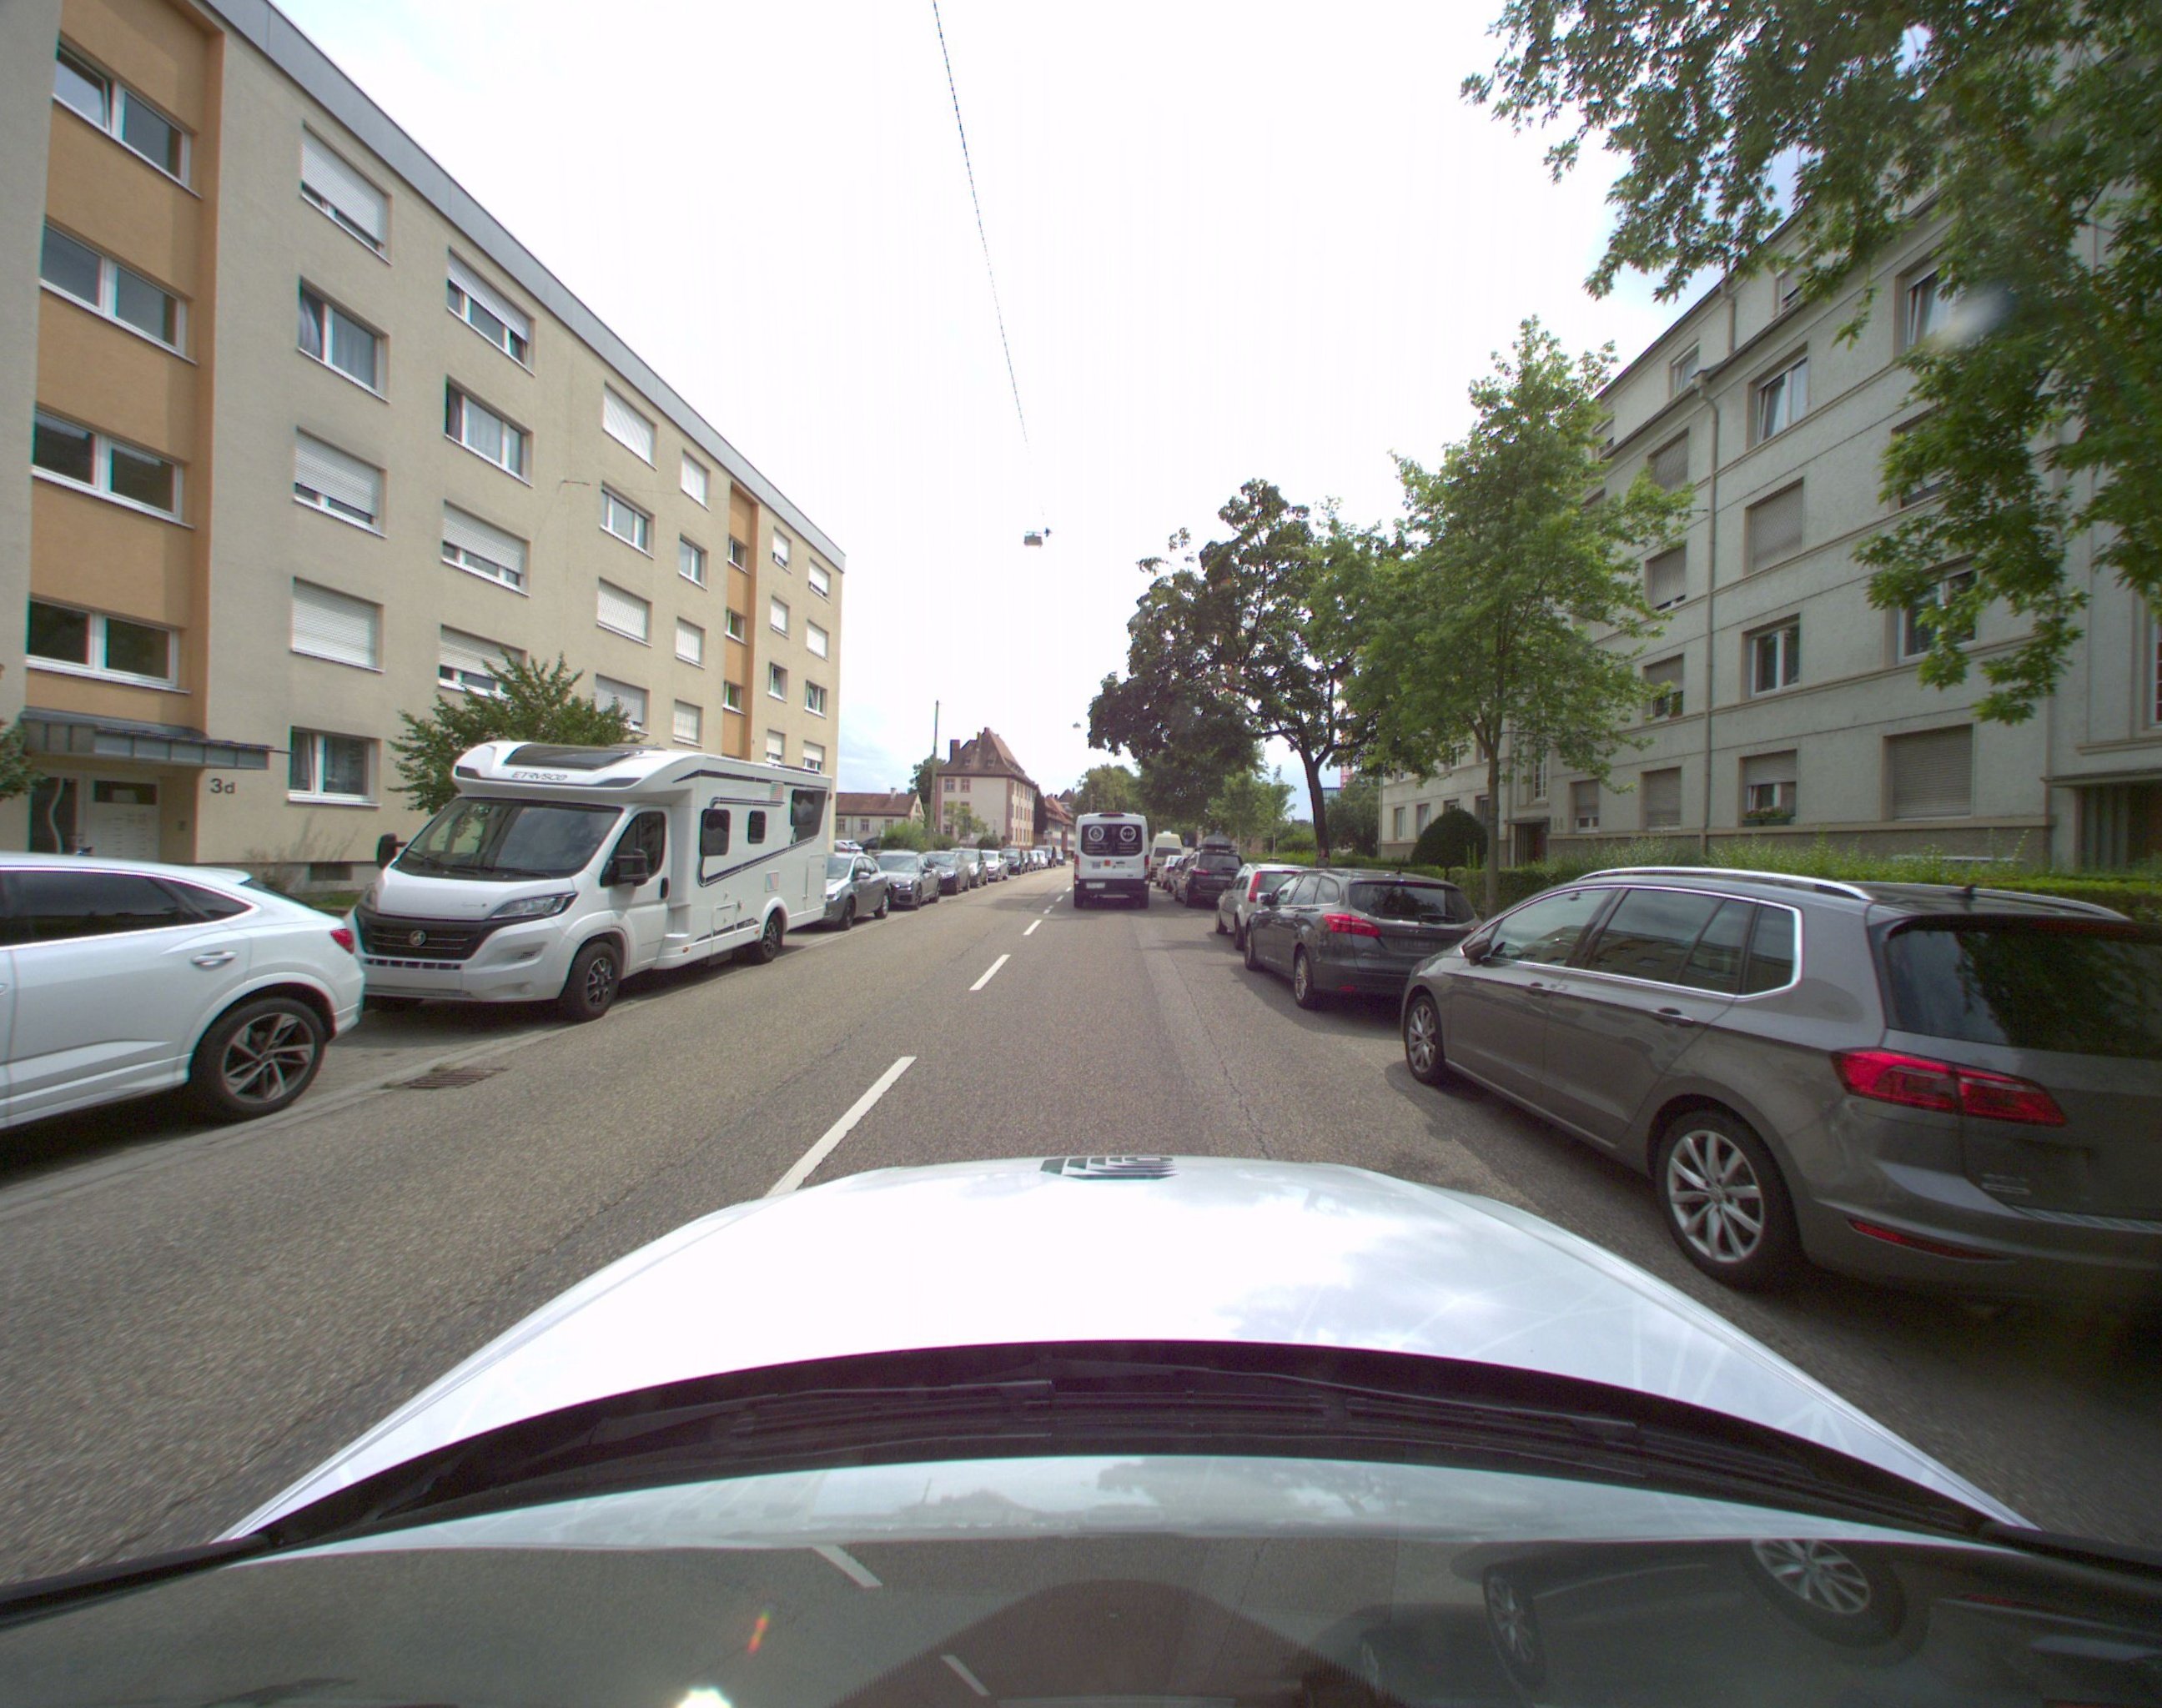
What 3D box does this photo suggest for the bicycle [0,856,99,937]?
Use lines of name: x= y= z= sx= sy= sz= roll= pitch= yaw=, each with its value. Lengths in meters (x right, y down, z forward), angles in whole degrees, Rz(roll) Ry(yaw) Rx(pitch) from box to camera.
bicycle: x=-13.576 y=0.537 z=10.209 sx=0.394 sy=0.978 sz=1.687 roll=1 pitch=1 yaw=5

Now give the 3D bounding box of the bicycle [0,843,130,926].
bicycle: x=-13.129 y=0.365 z=10.186 sx=0.394 sy=0.978 sz=1.687 roll=1 pitch=1 yaw=5

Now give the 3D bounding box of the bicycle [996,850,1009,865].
bicycle: x=-6.111 y=0.269 z=63.290 sx=0.538 sy=1.175 sz=2.095 roll=0 pitch=0 yaw=6

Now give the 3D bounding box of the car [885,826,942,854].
car: x=-14.459 y=-1.216 z=70.409 sx=4.391 sy=2.348 sz=2.002 roll=1 pitch=1 yaw=3

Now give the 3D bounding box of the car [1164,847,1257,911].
car: x=3.844 y=0.683 z=25.121 sx=1.921 sy=1.661 sz=5.324 roll=3 pitch=0 yaw=0

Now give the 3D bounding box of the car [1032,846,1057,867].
car: x=-3.234 y=0.219 z=73.274 sx=1.778 sy=1.827 sz=3.977 roll=2 pitch=0 yaw=3

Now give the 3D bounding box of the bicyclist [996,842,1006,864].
bicyclist: x=-6.167 y=-0.104 z=62.780 sx=0.534 sy=1.653 sz=1.049 roll=0 pitch=0 yaw=6

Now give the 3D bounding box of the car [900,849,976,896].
car: x=-5.017 y=0.592 z=29.196 sx=1.735 sy=1.496 sz=4.787 roll=2 pitch=0 yaw=1

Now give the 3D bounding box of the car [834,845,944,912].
car: x=-5.178 y=0.584 z=22.760 sx=1.880 sy=1.579 sz=5.216 roll=2 pitch=0 yaw=-1

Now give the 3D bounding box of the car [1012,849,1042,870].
car: x=-4.040 y=0.422 z=61.488 sx=1.778 sy=1.462 sz=3.864 roll=2 pitch=0 yaw=3

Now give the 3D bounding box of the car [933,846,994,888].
car: x=-4.879 y=0.497 z=34.285 sx=1.879 sy=1.579 sz=4.153 roll=2 pitch=0 yaw=0

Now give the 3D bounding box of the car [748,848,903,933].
car: x=-5.199 y=0.654 z=17.262 sx=1.682 sy=1.496 sz=4.595 roll=2 pitch=0 yaw=1

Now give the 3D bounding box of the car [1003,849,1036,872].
car: x=-4.220 y=0.421 z=56.311 sx=1.778 sy=1.462 sz=3.864 roll=2 pitch=0 yaw=3

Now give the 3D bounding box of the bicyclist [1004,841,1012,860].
bicyclist: x=-6.284 y=-0.306 z=70.397 sx=0.533 sy=1.585 sz=0.692 roll=0 pitch=0 yaw=5

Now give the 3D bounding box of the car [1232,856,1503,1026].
car: x=3.060 y=0.816 z=9.720 sx=1.612 sy=1.469 sz=4.390 roll=2 pitch=0 yaw=-1

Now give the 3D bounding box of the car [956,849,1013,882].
car: x=-4.688 y=0.522 z=40.183 sx=1.877 sy=1.488 sz=4.638 roll=2 pitch=0 yaw=4

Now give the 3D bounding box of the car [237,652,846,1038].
car: x=-5.429 y=-0.093 z=10.277 sx=2.501 sy=3.024 sz=7.398 roll=2 pitch=0 yaw=1

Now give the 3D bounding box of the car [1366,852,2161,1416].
car: x=3.199 y=0.834 z=4.510 sx=1.654 sy=1.582 sz=4.285 roll=3 pitch=0 yaw=0

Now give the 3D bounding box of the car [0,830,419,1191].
car: x=-5.650 y=0.688 z=3.519 sx=1.682 sy=1.579 sz=4.595 roll=2 pitch=0 yaw=1

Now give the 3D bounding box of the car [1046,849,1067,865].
car: x=-2.536 y=0.309 z=83.627 sx=1.778 sy=1.482 sz=3.864 roll=2 pitch=0 yaw=3

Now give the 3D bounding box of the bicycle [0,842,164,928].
bicycle: x=-12.611 y=0.349 z=10.138 sx=0.394 sy=0.978 sz=1.680 roll=1 pitch=1 yaw=5

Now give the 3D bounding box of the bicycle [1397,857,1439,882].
bicycle: x=12.511 y=0.581 z=30.230 sx=1.384 sy=0.917 sz=0.512 roll=1 pitch=1 yaw=-11

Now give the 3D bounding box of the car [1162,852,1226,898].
car: x=4.079 y=0.715 z=29.997 sx=1.707 sy=1.464 sz=4.000 roll=3 pitch=0 yaw=0

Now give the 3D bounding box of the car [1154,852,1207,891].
car: x=4.209 y=0.711 z=35.084 sx=1.675 sy=1.469 sz=4.555 roll=4 pitch=0 yaw=0

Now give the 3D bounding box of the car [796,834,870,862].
car: x=-16.049 y=-0.412 z=52.843 sx=4.155 sy=1.684 sz=2.002 roll=1 pitch=1 yaw=3

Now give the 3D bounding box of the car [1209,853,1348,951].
car: x=3.422 y=0.758 z=14.809 sx=1.653 sy=1.456 sz=4.038 roll=2 pitch=0 yaw=2

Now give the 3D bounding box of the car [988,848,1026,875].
car: x=-4.505 y=0.424 z=50.191 sx=1.778 sy=1.543 sz=3.864 roll=2 pitch=0 yaw=3

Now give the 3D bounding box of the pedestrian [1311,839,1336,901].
pedestrian: x=7.239 y=0.484 z=24.321 sx=0.522 sy=1.828 sz=0.522 roll=0 pitch=0 yaw=-8

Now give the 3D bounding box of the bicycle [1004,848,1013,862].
bicycle: x=-6.261 y=0.060 z=70.720 sx=0.539 sy=1.175 sz=1.351 roll=0 pitch=0 yaw=5

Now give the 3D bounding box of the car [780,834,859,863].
car: x=-15.935 y=-0.346 z=49.772 sx=4.155 sy=1.684 sz=2.002 roll=1 pitch=1 yaw=3

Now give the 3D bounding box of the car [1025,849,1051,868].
car: x=-3.581 y=0.341 z=68.175 sx=1.778 sy=1.482 sz=3.864 roll=2 pitch=0 yaw=3

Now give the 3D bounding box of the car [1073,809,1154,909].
car: x=0.840 y=0.127 z=23.046 sx=2.064 sy=2.540 sz=4.634 roll=0 pitch=0 yaw=0

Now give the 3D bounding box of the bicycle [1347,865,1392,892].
bicycle: x=9.852 y=0.836 z=27.825 sx=1.384 sy=0.917 sz=0.512 roll=1 pitch=1 yaw=-11

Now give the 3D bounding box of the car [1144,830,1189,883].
car: x=4.511 y=0.130 z=43.607 sx=1.889 sy=2.587 sz=4.831 roll=3 pitch=0 yaw=2
